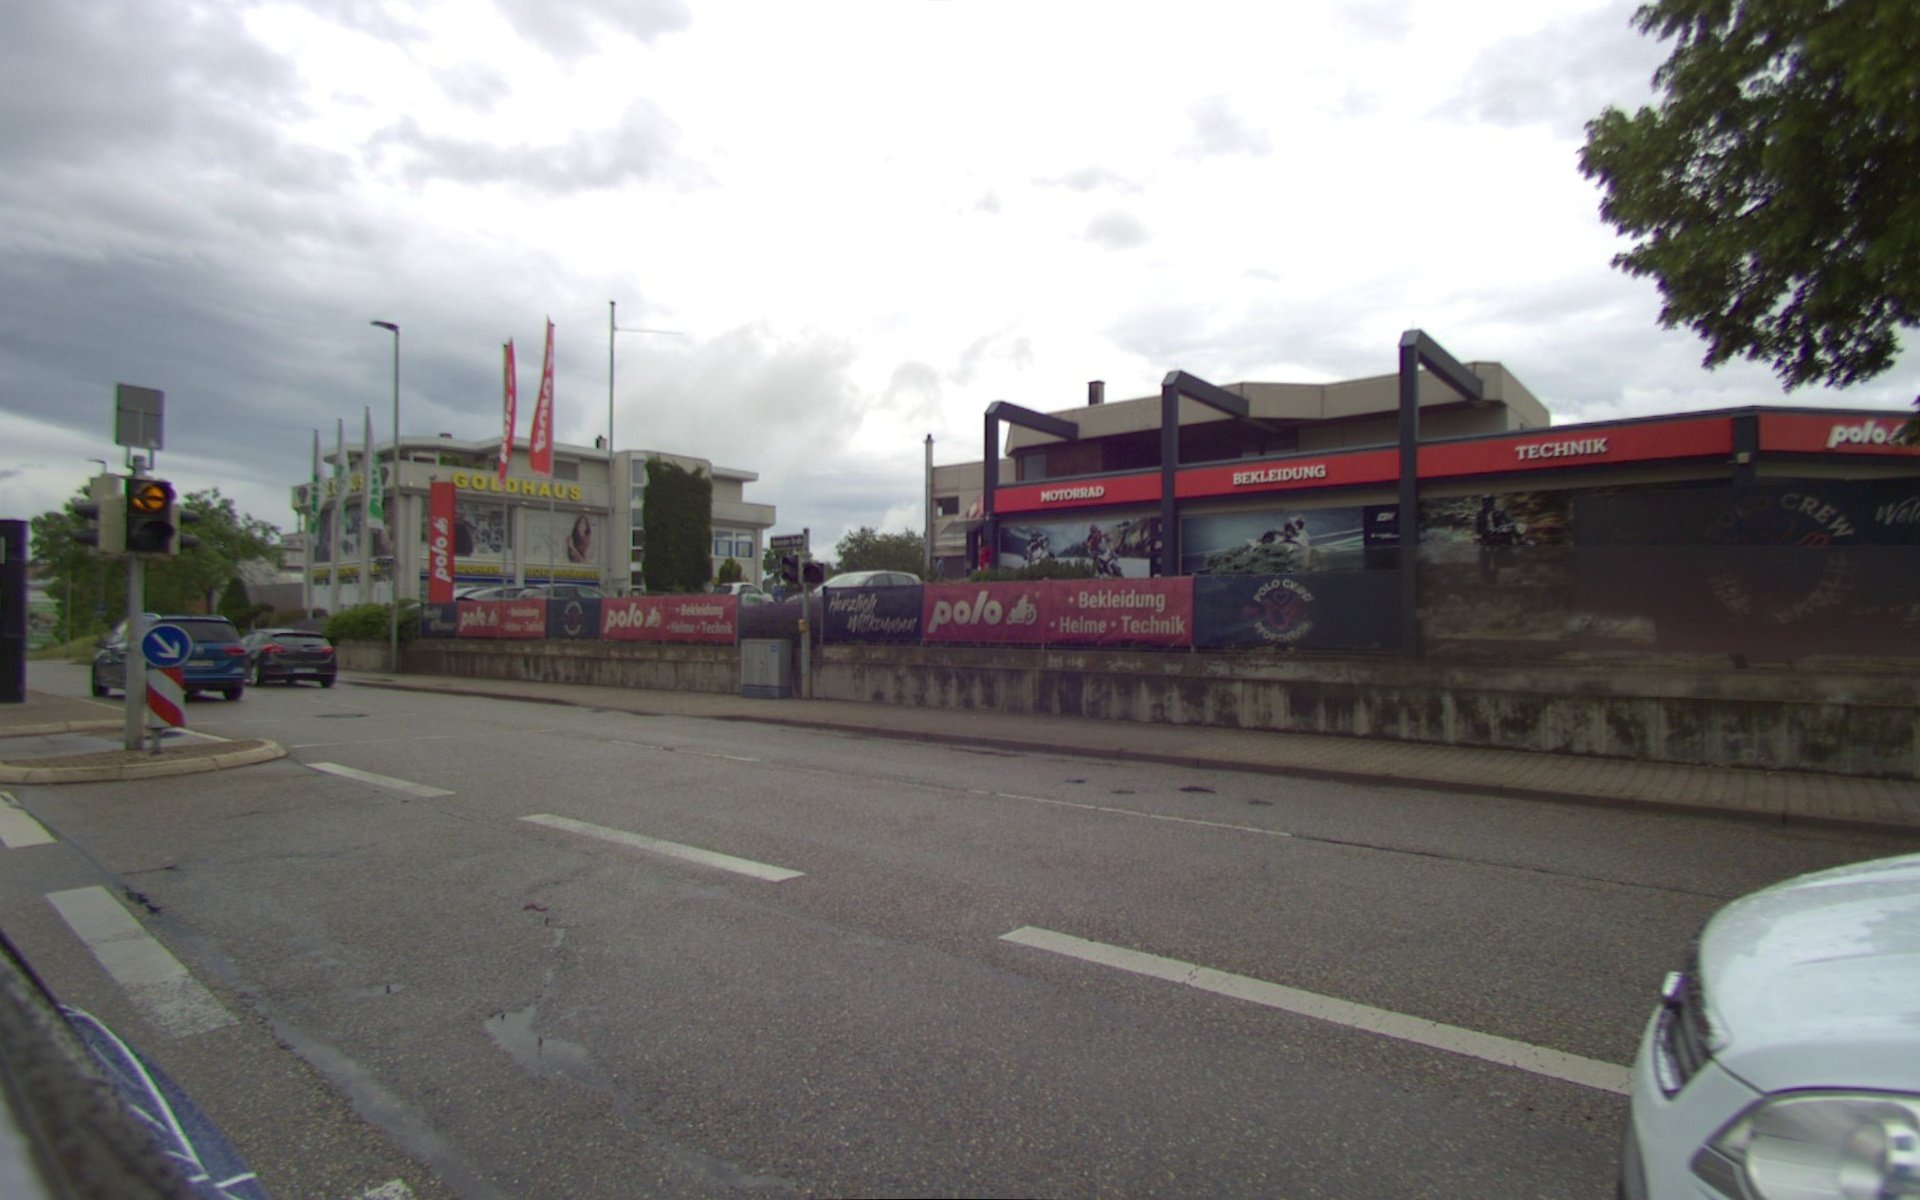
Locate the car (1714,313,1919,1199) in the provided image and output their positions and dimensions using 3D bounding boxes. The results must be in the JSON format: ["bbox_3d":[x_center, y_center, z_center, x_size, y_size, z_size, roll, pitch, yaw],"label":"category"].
[{"bbox_3d":[2.936,0.553,0.250,4.294,1.662,1.821,-2,-2,40],"label":"car"}]

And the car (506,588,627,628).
[{"bbox_3d":[-12.465,0.294,32.187,1.452,1.176,3.353,-2,-3,38],"label":"car"}]

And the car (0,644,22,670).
[{"bbox_3d":[-74.472,4.442,78.269,4.541,1.905,2.320,-5,-4,41],"label":"car"}]

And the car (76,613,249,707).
[{"bbox_3d":[-15.827,1.139,20.017,4.294,1.662,1.821,-2,-3,40],"label":"car"}]

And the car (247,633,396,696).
[{"bbox_3d":[-15.469,1.517,24.445,4.123,1.390,1.897,-2,-3,41],"label":"car"}]

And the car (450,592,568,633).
[{"bbox_3d":[-15.060,0.442,33.917,1.452,1.287,3.353,-2,-3,38],"label":"car"}]

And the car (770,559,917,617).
[{"bbox_3d":[-2.645,-0.227,23.452,1.452,1.176,3.353,-2,-3,38],"label":"car"}]

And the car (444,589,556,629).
[{"bbox_3d":[-16.468,0.357,36.329,1.454,1.347,3.350,-2,-3,41],"label":"car"}]
